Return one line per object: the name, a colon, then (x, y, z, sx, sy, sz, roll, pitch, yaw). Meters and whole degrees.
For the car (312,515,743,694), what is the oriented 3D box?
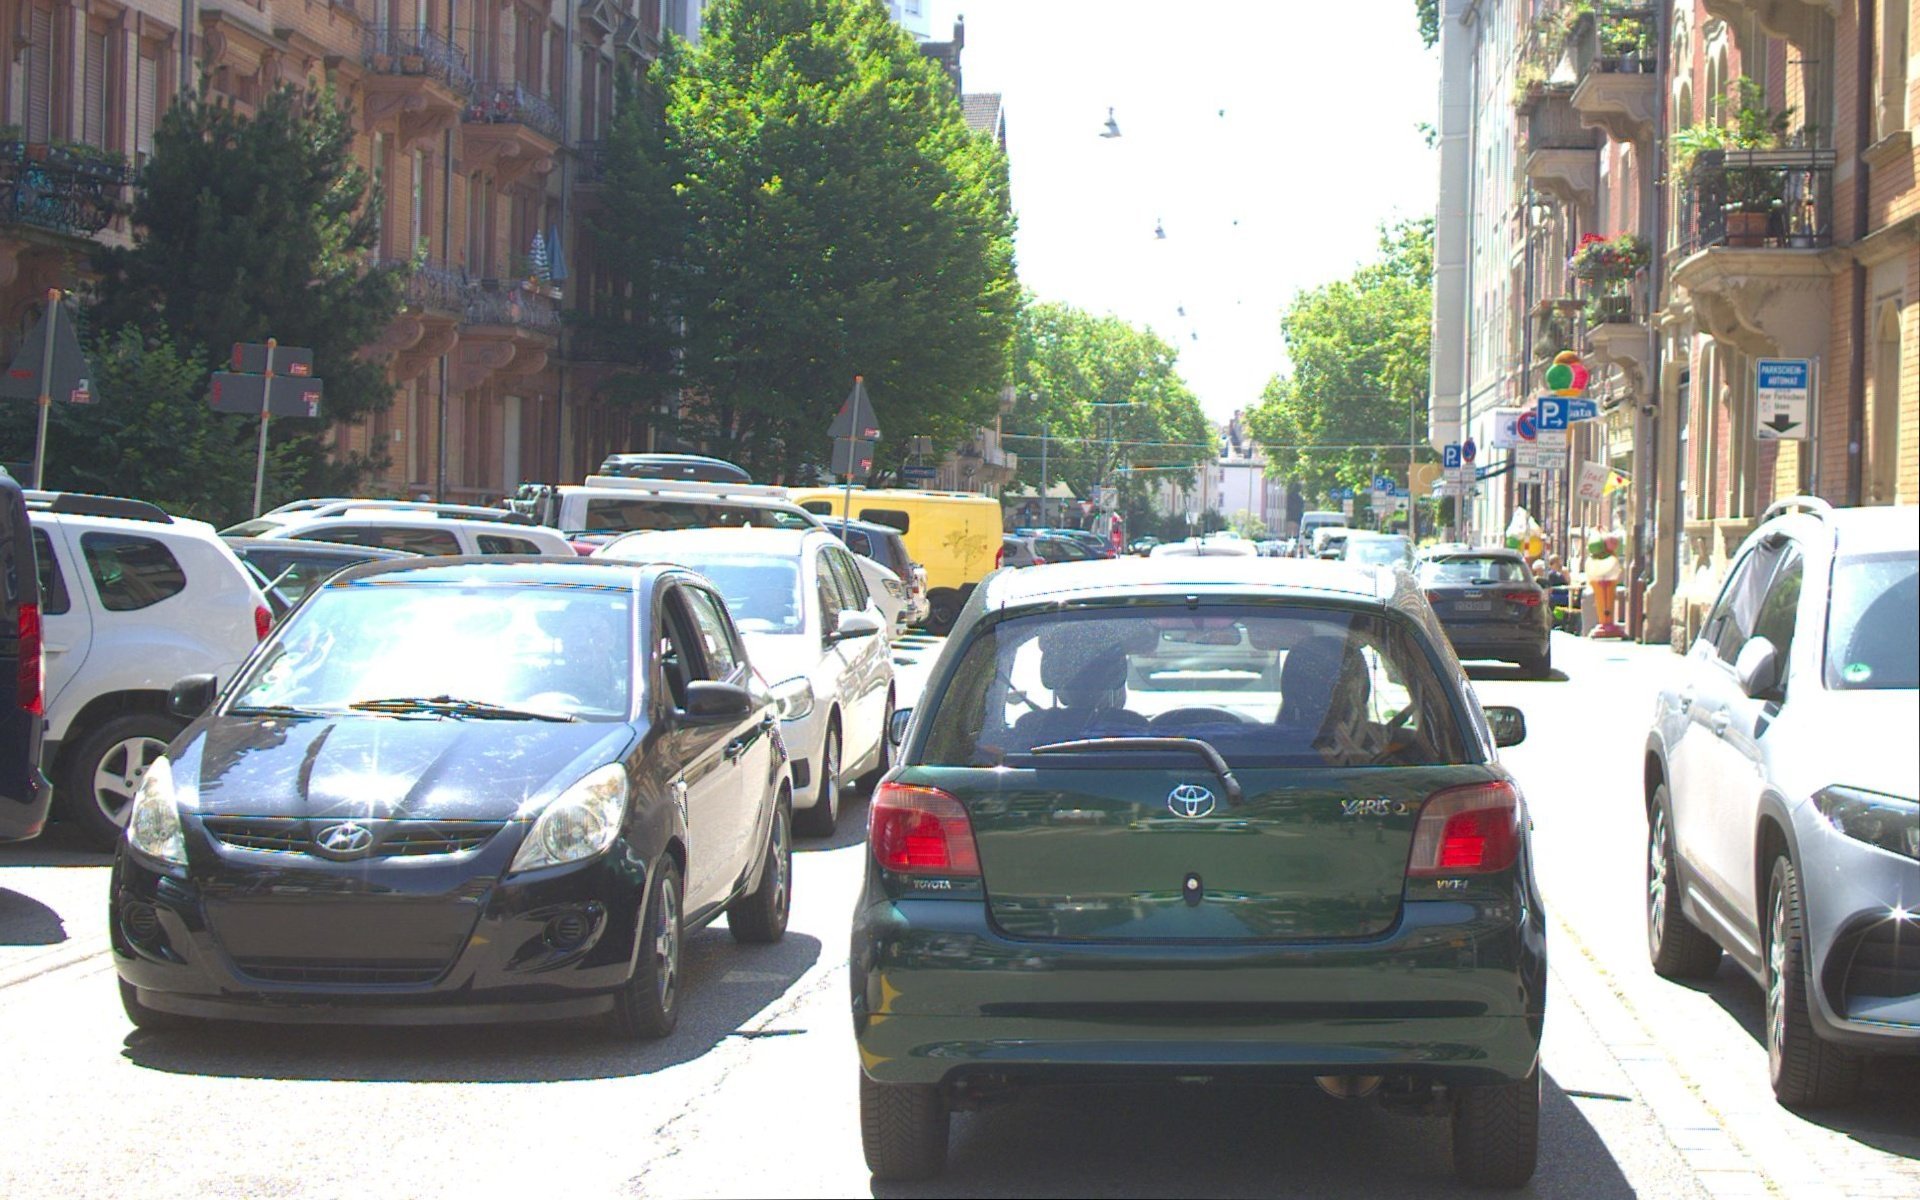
car: (-4.302, 0.037, 34.063, 3.909, 1.613, 1.866, 2, 1, -18)

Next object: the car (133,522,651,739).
car: (-4.673, 0.241, 28.162, 3.909, 1.613, 1.866, 2, 1, -18)

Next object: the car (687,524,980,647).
car: (-1.845, -0.214, 49.874, 3.861, 1.634, 1.786, 2, 1, -18)

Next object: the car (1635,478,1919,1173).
car: (3.235, 0.521, 10.601, 1.872, 1.707, 4.503, 0, 1, 6)

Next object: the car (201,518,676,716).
car: (-4.689, 0.147, 30.790, 3.909, 1.613, 1.866, 2, 1, -18)

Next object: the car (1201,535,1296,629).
car: (5.207, -0.346, 61.823, 1.523, 1.587, 3.263, 2, 2, 7)

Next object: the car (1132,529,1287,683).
car: (2.672, 0.027, 36.581, 1.522, 1.516, 3.263, 2, 2, 5)

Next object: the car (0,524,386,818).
car: (-5.109, 0.333, 18.718, 3.618, 1.453, 1.625, 3, 1, -19)

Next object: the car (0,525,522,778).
car: (-4.956, 0.299, 21.593, 3.910, 1.465, 1.866, 1, 1, -33)

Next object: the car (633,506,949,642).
car: (-2.325, -0.364, 47.017, 3.909, 1.702, 1.866, 2, 1, -18)

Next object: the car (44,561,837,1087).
car: (-1.569, 0.614, 11.837, 1.755, 1.439, 3.999, 1, 1, 6)

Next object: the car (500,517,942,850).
car: (-1.213, 0.388, 19.390, 1.755, 1.639, 4.377, -1, 1, 6)

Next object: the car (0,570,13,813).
car: (-5.356, 0.481, 11.245, 3.986, 1.407, 1.972, 3, 1, -27)

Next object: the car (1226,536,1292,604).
car: (7.344, -0.752, 84.595, 1.522, 1.587, 3.263, 2, 1, 4)

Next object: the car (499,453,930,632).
car: (-2.994, -0.688, 41.868, 4.772, 1.987, 2.054, 1, 1, -23)

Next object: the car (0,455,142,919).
car: (-5.445, 0.235, 13.456, 3.986, 1.798, 1.769, 3, 1, -26)

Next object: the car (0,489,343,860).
car: (-5.117, 0.272, 16.459, 3.985, 1.652, 1.760, 3, 1, -18)

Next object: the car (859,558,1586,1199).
car: (0.600, 0.640, 9.271, 1.614, 1.480, 3.241, 0, 1, 1)

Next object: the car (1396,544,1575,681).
car: (5.876, 0.098, 38.807, 1.755, 1.424, 3.999, 1, 1, 6)

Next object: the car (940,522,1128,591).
car: (1.999, -1.176, 92.866, 4.605, 1.720, 2.001, 1, 1, -21)

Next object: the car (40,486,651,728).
car: (-4.442, 0.056, 25.009, 3.910, 1.613, 1.866, 1, 1, -35)

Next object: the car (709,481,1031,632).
car: (-1.417, -0.681, 53.751, 4.556, 2.180, 2.001, 1, 1, -21)
